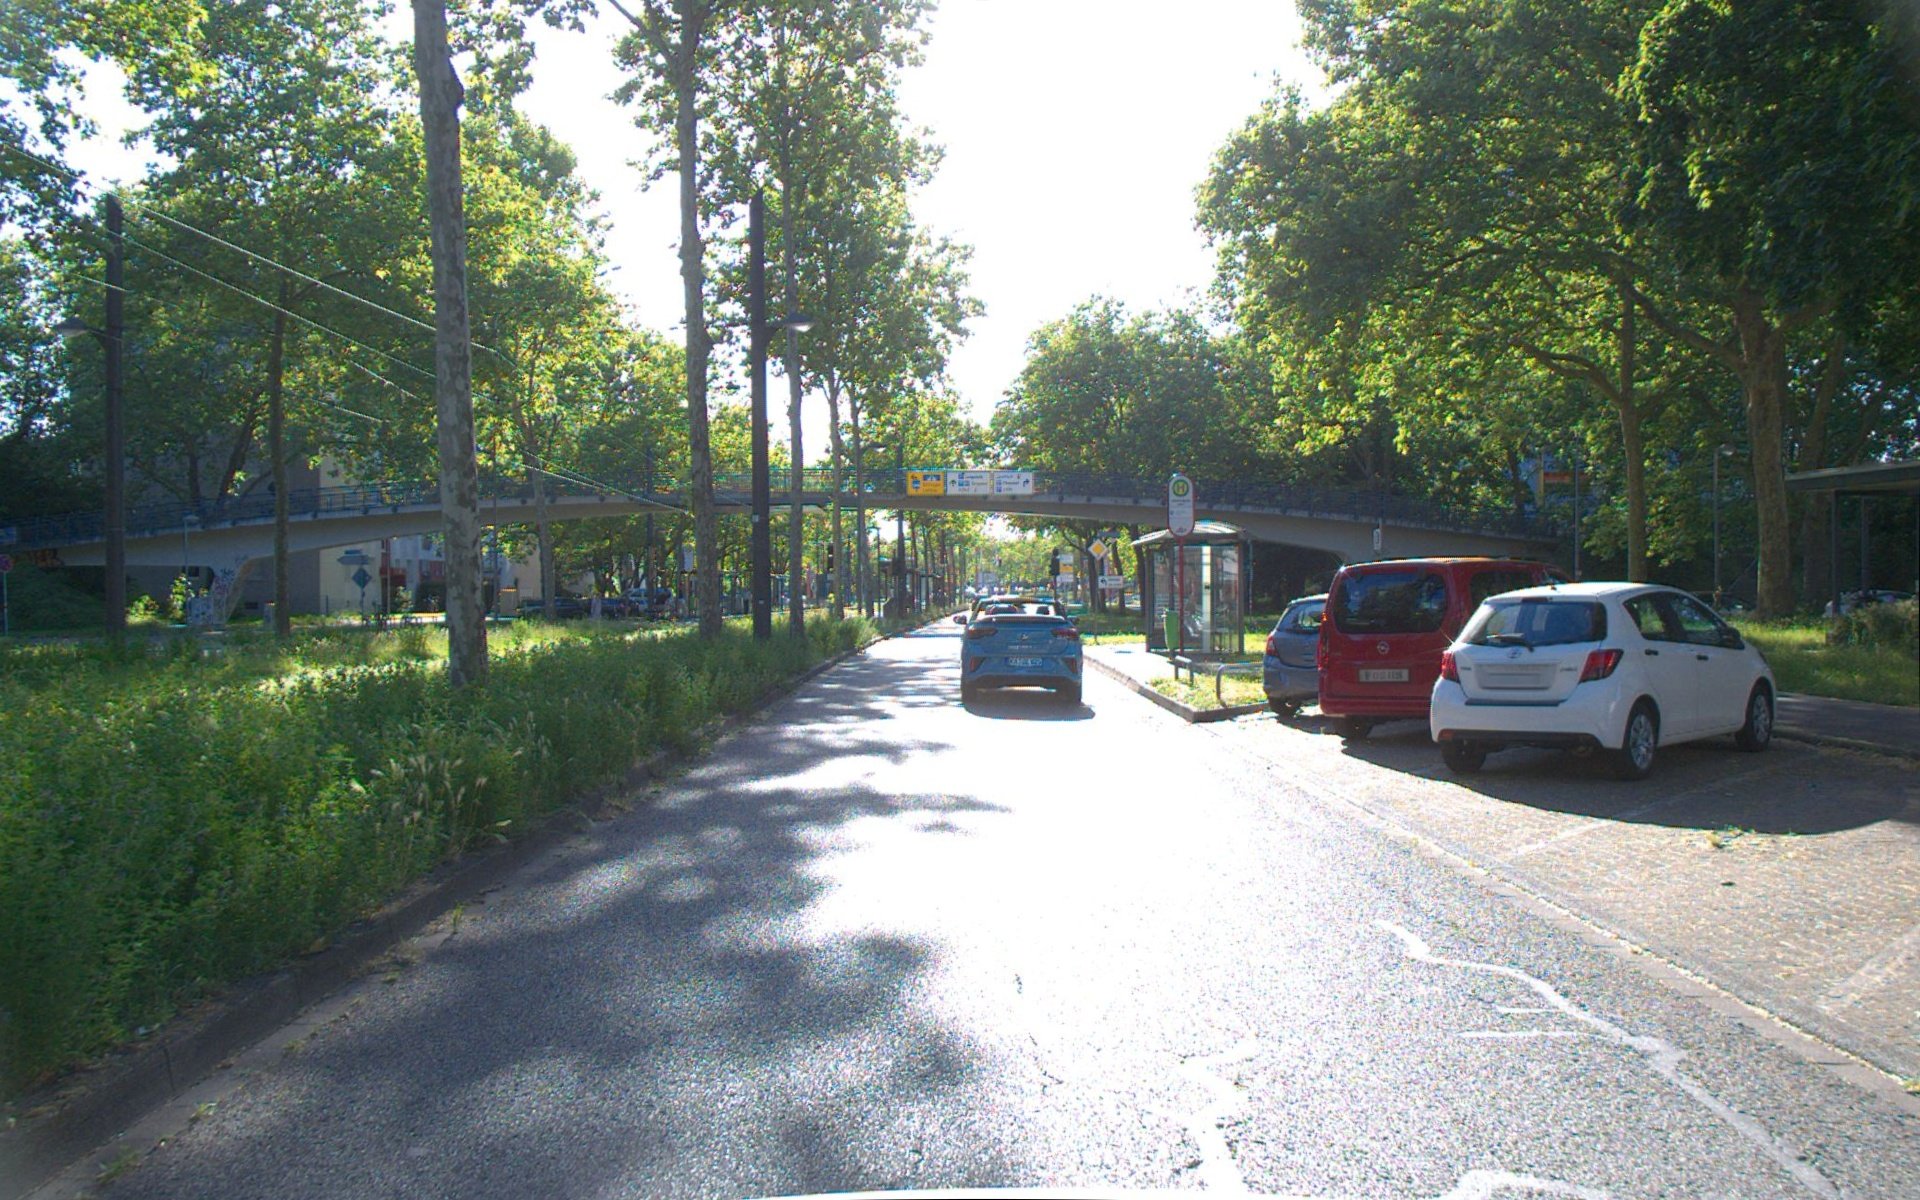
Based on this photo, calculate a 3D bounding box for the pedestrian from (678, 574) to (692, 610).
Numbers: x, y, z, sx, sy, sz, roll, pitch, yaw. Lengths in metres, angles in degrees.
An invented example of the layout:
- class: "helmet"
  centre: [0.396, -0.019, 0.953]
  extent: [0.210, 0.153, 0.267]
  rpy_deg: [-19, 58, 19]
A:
- class: "pedestrian"
  centre: [-13.765, -0.381, 82.734]
  extent: [0.499, 1.801, 0.477]
  rpy_deg: [1, -1, -40]

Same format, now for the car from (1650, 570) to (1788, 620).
- class: "car"
  centre: [24.487, -0.173, 53.411]
  extent: [3.653, 1.521, 1.709]
  rpy_deg: [0, 2, -2]

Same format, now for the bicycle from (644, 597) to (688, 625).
- class: "bicycle"
  centre: [-12.916, 0.466, 72.676]
  extent: [1.796, 1.167, 0.814]
  rpy_deg: [1, 1, -6]

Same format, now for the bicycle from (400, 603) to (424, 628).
- class: "bicycle"
  centre: [-23.178, 0.655, 69.975]
  extent: [0.425, 1.026, 1.687]
  rpy_deg: [1, 1, 1]

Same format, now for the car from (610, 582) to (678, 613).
- class: "car"
  centre: [-22.600, -0.159, 118.306]
  extent: [4.453, 2.099, 1.875]
  rpy_deg: [1, 1, -38]

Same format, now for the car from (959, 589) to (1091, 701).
- class: "car"
  centre: [0.911, 0.614, 25.106]
  extent: [1.740, 1.509, 4.099]
  rpy_deg: [2, 0, -1]

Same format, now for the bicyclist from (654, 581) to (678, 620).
- class: "bicyclist"
  centre: [-12.919, 0.019, 72.646]
  extent: [0.935, 1.660, 0.814]
  rpy_deg: [1, 1, -6]

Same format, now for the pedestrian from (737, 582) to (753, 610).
- class: "pedestrian"
  centre: [-12.703, -0.240, 97.638]
  extent: [0.698, 1.663, 0.732]
  rpy_deg: [-1, 0, 10]

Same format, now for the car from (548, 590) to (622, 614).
- class: "car"
  centre: [-23.191, 0.128, 102.382]
  extent: [4.156, 1.453, 1.677]
  rpy_deg: [1, 1, -38]

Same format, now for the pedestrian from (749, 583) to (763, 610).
- class: "pedestrian"
  centre: [-11.915, -0.188, 96.567]
  extent: [0.667, 1.540, 0.645]
  rpy_deg: [-2, 0, 8]

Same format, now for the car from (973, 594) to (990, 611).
- class: "car"
  centre: [2.065, 0.225, 161.401]
  extent: [1.675, 1.631, 3.350]
  rpy_deg: [0, 0, 0]

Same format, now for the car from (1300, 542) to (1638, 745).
- class: "car"
  centre: [5.470, 0.377, 17.532]
  extent: [3.922, 1.875, 1.740]
  rpy_deg: [-2, 0, -44]

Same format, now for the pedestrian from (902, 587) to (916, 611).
- class: "pedestrian"
  centre: [-2.792, -0.037, 90.505]
  extent: [0.719, 1.274, 0.587]
  rpy_deg: [1, 0, -5]

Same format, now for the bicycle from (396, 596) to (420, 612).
- class: "bicycle"
  centre: [-34.536, 0.238, 103.472]
  extent: [0.681, 0.944, 2.595]
  rpy_deg: [1, 1, -2]

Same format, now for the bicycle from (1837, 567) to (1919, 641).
- class: "bicycle"
  centre: [15.778, 0.053, 27.651]
  extent: [2.029, 1.178, 0.560]
  rpy_deg: [-2, 0, -10]

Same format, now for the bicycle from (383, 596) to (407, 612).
- class: "bicycle"
  centre: [-35.358, 0.227, 103.486]
  extent: [0.681, 0.944, 2.595]
  rpy_deg: [1, 1, -2]

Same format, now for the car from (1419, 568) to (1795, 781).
- class: "car"
  centre: [5.623, 0.549, 14.190]
  extent: [3.600, 1.521, 1.655]
  rpy_deg: [-2, 0, -44]

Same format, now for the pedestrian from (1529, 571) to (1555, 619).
- class: "pedestrian"
  centre: [22.238, -0.198, 63.207]
  extent: [0.646, 1.808, 0.738]
  rpy_deg: [-1, 1, -8]

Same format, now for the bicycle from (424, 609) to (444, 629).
- class: "bicycle"
  centre: [-22.052, 0.799, 69.348]
  extent: [0.425, 0.792, 1.174]
  rpy_deg: [1, 1, 1]

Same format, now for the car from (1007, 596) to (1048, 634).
- class: "car"
  centre: [3.372, 0.742, 83.206]
  extent: [1.941, 1.823, 4.615]
  rpy_deg: [1, 0, 1]

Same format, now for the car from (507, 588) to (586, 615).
- class: "car"
  centre: [-23.925, 0.102, 95.770]
  extent: [4.156, 1.453, 1.677]
  rpy_deg: [1, 1, -38]

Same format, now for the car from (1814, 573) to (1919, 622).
- class: "car"
  centre: [30.139, -0.092, 53.930]
  extent: [3.901, 1.521, 1.664]
  rpy_deg: [0, 2, -11]

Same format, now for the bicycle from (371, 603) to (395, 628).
- class: "bicycle"
  centre: [-24.578, 0.637, 70.471]
  extent: [0.425, 1.026, 1.687]
  rpy_deg: [1, 1, 1]

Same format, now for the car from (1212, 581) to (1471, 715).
- class: "car"
  centre: [4.993, 0.565, 21.373]
  extent: [1.493, 1.498, 3.803]
  rpy_deg: [-2, 0, 44]

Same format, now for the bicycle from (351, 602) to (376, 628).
- class: "bicycle"
  centre: [-24.996, 0.630, 69.341]
  extent: [0.425, 1.026, 1.687]
  rpy_deg: [1, 1, 1]

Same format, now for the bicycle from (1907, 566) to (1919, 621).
- class: "bicycle"
  centre: [22.207, -0.145, 37.386]
  extent: [0.564, 1.275, 1.806]
  rpy_deg: [1, 0, -1]

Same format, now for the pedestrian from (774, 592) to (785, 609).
- class: "pedestrian"
  centre: [-13.007, 0.022, 119.187]
  extent: [0.680, 1.147, 0.662]
  rpy_deg: [-3, 0, 2]

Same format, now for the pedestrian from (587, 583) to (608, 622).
- class: "pedestrian"
  centre: [-16.108, 0.117, 73.483]
  extent: [0.710, 1.703, 1.048]
  rpy_deg: [1, 0, -3]
